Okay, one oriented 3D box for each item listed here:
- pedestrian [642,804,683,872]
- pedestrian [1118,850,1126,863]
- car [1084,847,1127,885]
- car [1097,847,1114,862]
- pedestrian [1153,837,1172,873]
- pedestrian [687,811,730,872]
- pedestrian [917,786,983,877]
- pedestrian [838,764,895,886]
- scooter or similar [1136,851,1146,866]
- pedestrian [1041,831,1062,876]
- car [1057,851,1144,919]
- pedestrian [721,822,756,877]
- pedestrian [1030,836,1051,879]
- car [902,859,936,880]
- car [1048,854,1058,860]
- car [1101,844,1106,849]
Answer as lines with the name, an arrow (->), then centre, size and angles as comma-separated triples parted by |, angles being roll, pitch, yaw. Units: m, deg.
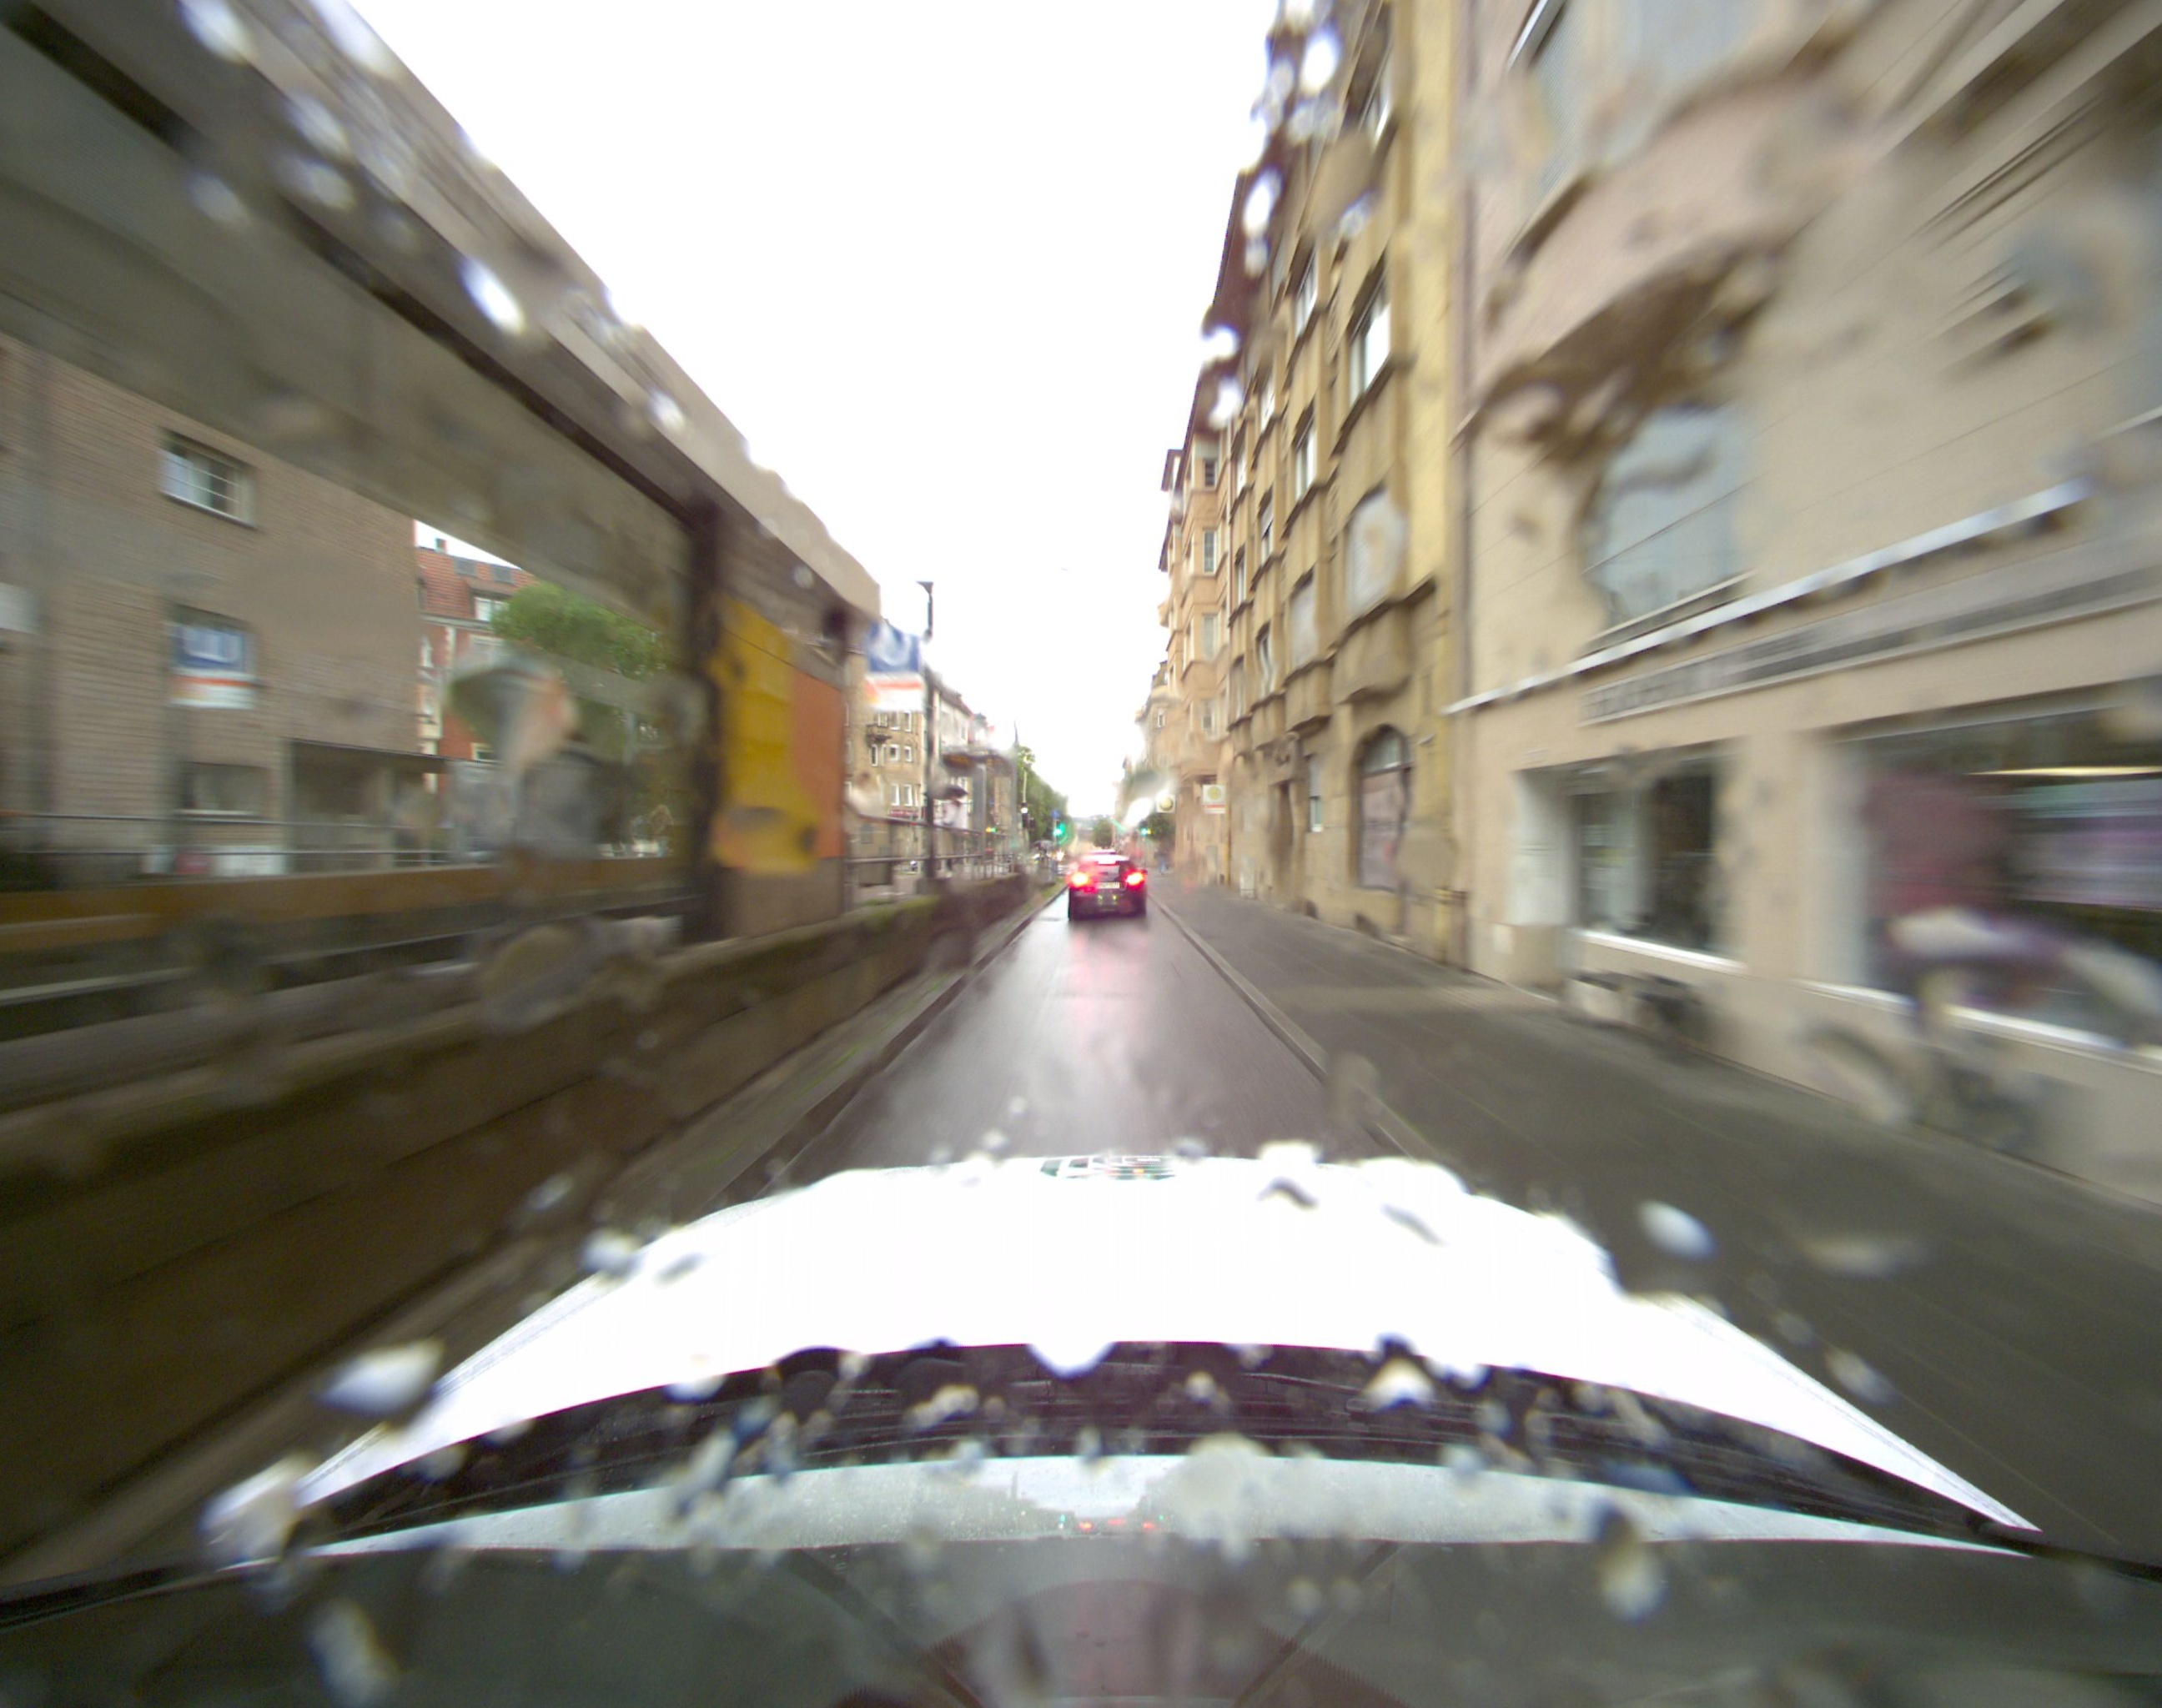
pedestrian -> -10.615, -0.405, 20.674 | 0.663, 1.698, 0.688 | -1, 0, -2
pedestrian -> 5.590, 0.288, 111.061 | 0.942, 1.769, 1.015 | -1, 0, -1
car -> 1.073, 0.453, 33.566 | 1.642, 1.452, 4.004 | 0, 0, 3
car -> 2.734, 0.063, 89.796 | 1.759, 1.559, 4.747 | -2, 0, 2
pedestrian -> 4.351, 0.036, 43.409 | 0.895, 1.840, 0.970 | -4, 0, 6
pedestrian -> -10.709, -0.345, 23.420 | 0.741, 1.696, 0.883 | 1, -2, 2
pedestrian -> -2.627, -0.450, 16.455 | 1.110, 1.774, 1.112 | 0, 0, 1
pedestrian -> -3.180, -0.422, 12.132 | 0.641, 1.774, 0.711 | 0, 0, 1
scooter or similar -> 5.064, 0.386, 68.892 | 0.636, 1.210, 1.551 | -2, 0, -3
pedestrian -> -1.326, -0.035, 36.815 | 0.922, 2.013, 0.948 | 0, 0, 1
car -> 0.530, 0.657, 19.388 | 1.858, 1.452, 4.004 | 0, 0, 3
pedestrian -> -10.655, -0.129, 25.329 | 0.741, 1.647, 0.641 | -4, -2, 1
pedestrian -> -1.905, 0.171, 38.292 | 0.893, 2.013, 0.948 | 0, 0, 1
car -> -12.982, 1.211, 65.451 | 1.637, 1.496, 4.766 | -1, 0, 2
car -> -6.934, 0.716, 202.404 | 1.941, 1.396, 4.276 | -2, 0, 2
car -> 6.613, -2.228, 241.124 | 1.607, 1.317, 4.001 | 0, 0, 2
